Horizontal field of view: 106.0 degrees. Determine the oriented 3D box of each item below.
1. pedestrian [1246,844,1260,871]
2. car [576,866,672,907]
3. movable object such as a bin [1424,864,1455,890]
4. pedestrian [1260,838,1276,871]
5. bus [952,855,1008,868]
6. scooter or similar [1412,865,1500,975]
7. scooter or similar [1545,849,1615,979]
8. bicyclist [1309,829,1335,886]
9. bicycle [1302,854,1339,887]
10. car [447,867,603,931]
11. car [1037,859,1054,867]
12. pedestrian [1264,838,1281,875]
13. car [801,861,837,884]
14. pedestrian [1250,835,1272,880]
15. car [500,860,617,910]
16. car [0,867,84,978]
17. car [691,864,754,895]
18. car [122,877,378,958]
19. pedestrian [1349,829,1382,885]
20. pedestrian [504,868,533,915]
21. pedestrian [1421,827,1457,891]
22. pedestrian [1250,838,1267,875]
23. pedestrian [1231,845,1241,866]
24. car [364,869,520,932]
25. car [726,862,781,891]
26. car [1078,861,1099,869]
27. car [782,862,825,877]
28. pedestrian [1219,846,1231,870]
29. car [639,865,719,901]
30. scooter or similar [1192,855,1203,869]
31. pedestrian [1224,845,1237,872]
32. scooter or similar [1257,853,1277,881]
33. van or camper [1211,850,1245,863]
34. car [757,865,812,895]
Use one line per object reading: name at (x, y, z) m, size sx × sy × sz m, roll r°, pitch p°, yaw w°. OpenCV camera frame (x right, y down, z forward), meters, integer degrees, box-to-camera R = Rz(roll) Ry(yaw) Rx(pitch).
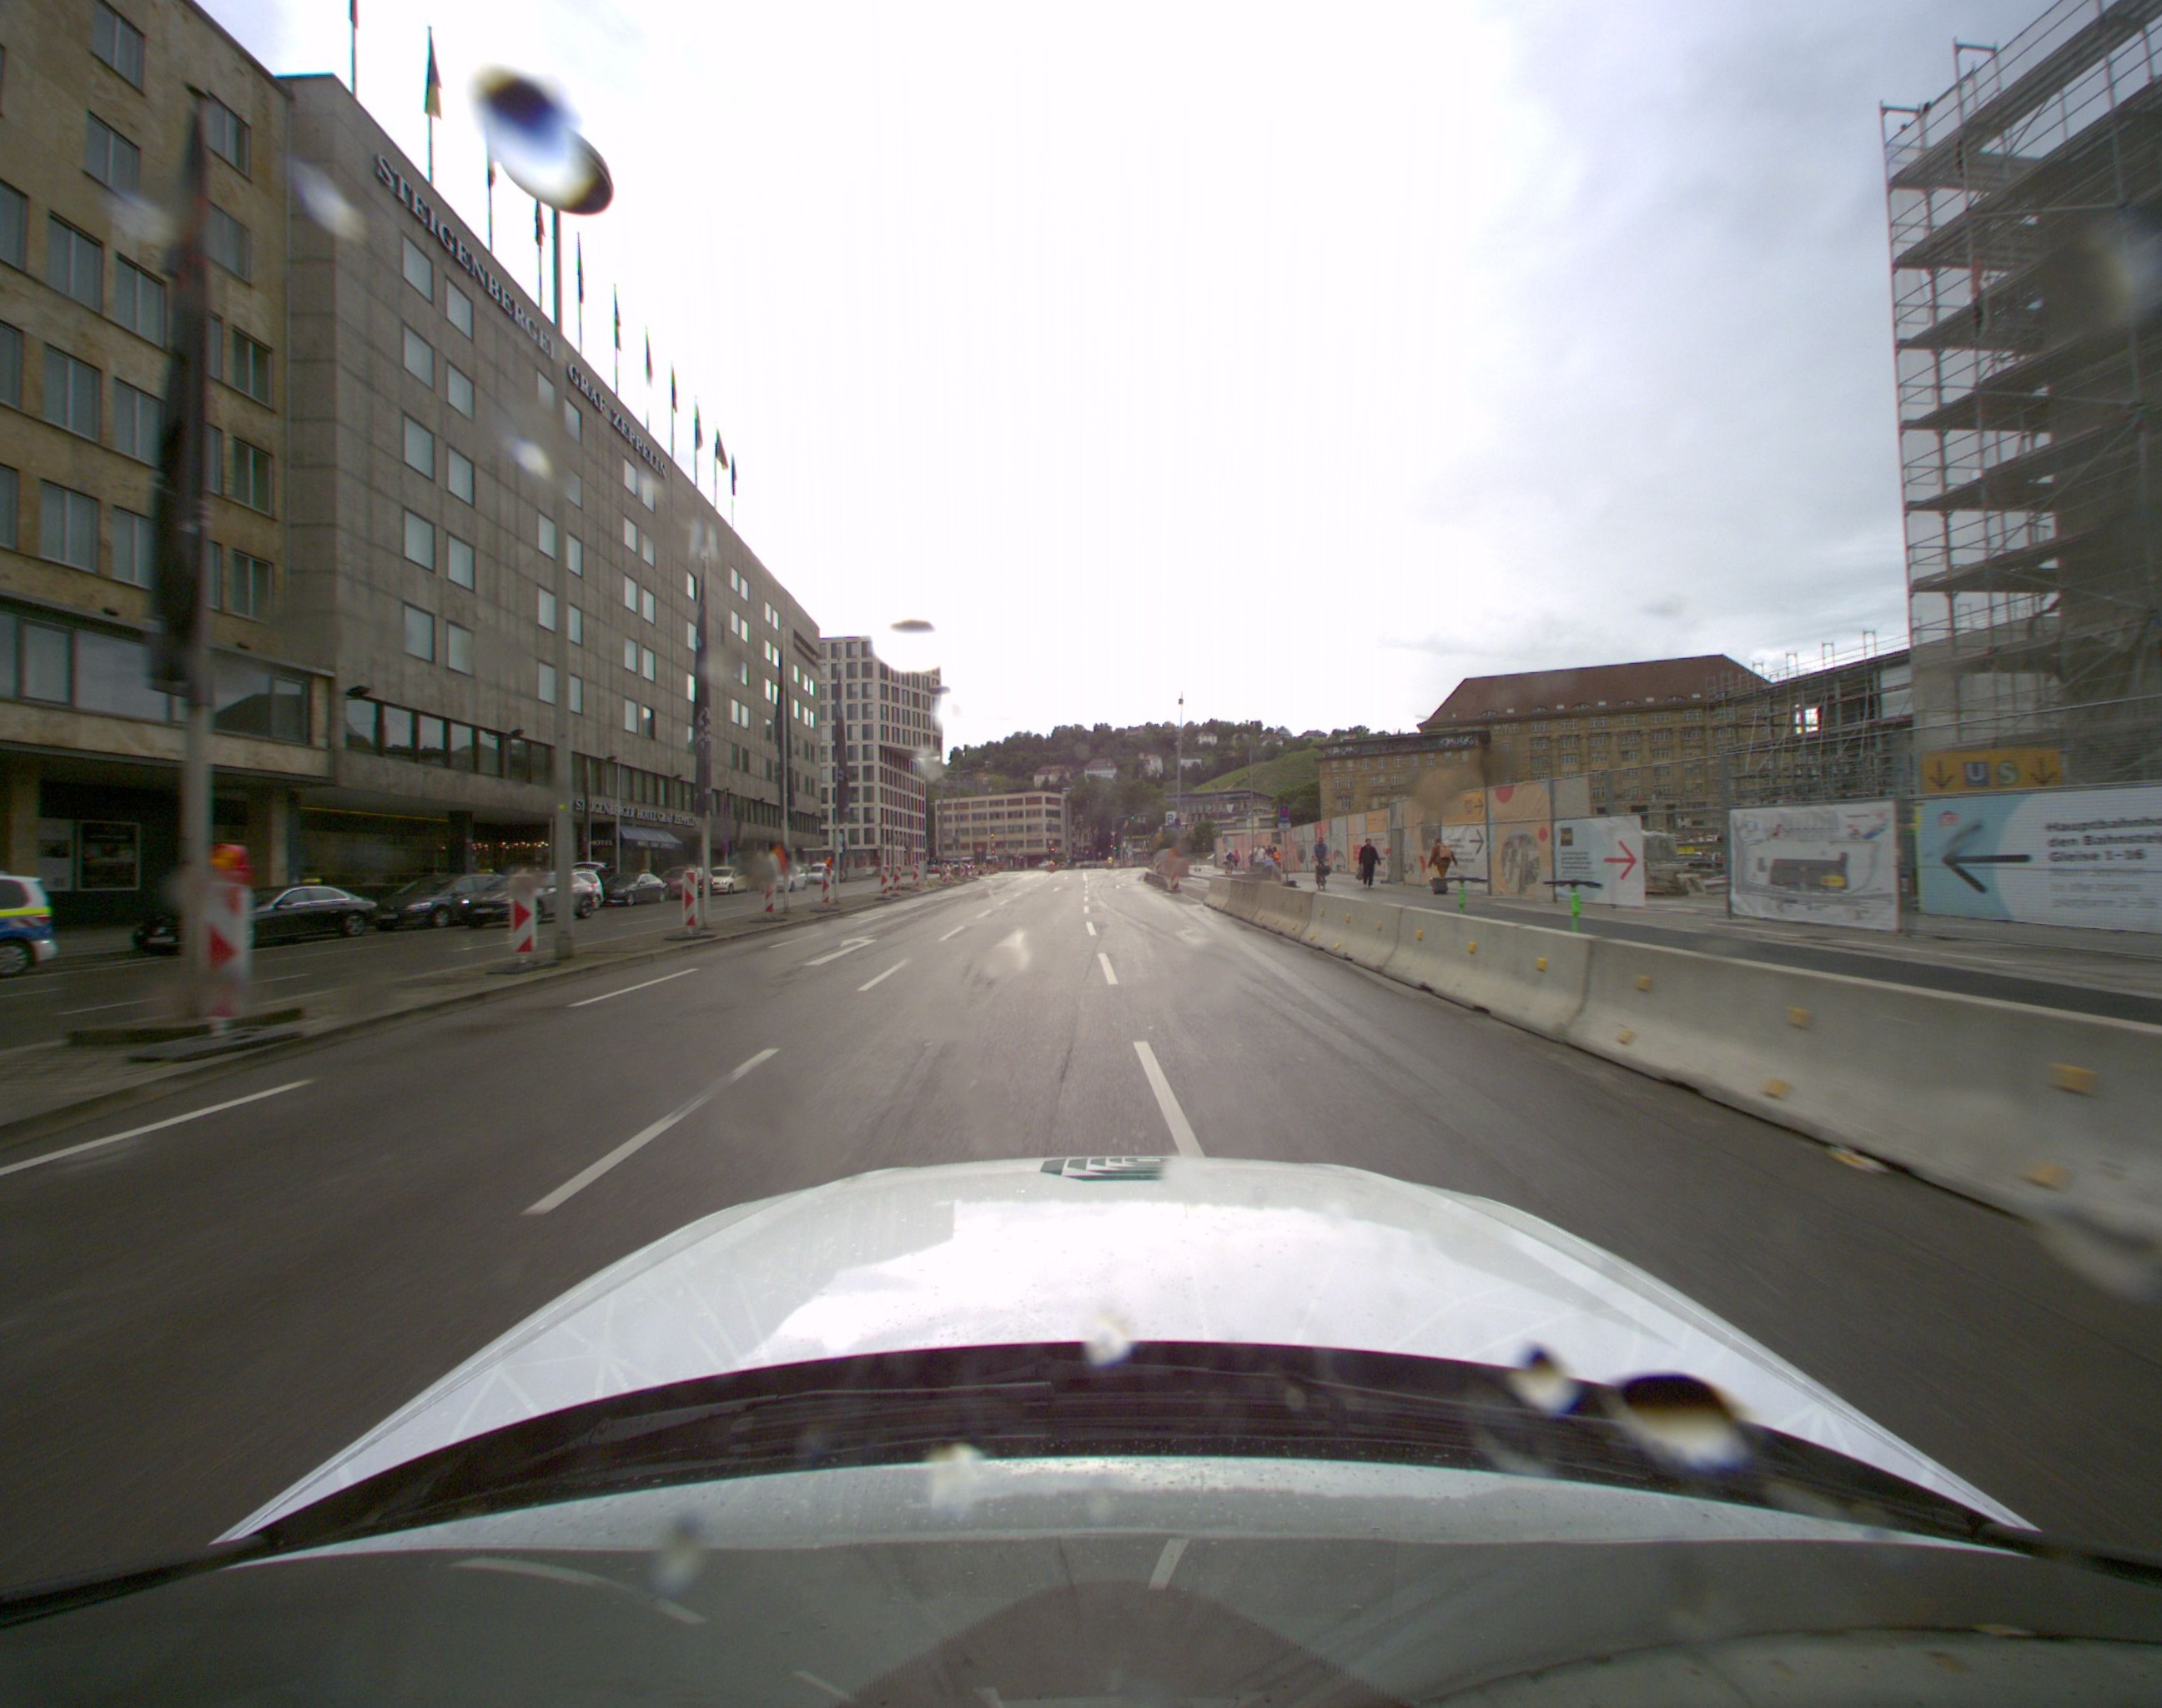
pedestrian at (11.889, 0.227, 56.205) m, size 0.701 × 1.866 × 0.990 m, roll -2°, pitch 0°, yaw 1°
car at (-20.909, 1.448, 37.505) m, size 1.898 × 1.659 × 4.612 m, roll -2°, pitch 0°, yaw -3°
movable object such as a bin at (10.713, 0.678, 24.332) m, size 0.594 × 0.734 × 0.778 m, roll -2°, pitch 0°, yaw 2°
pedestrian at (10.937, 0.017, 47.680) m, size 0.681 × 1.889 × 0.693 m, roll -2°, pitch 0°, yaw -1°
bus at (-23.814, 1.730, 191.332) m, size 13.795 × 2.750 × 3.232 m, roll -2°, pitch 0°, yaw 32°
scooter or similar at (4.842, 0.816, 10.570) m, size 0.524 × 1.333 × 1.021 m, roll -2°, pitch -1°, yaw -10°
scooter or similar at (5.434, 0.616, 8.907) m, size 0.487 × 1.333 × 1.031 m, roll -2°, pitch -1°, yaw 24°
bicyclist at (8.644, 0.121, 29.246) m, size 0.724 × 2.014 × 0.599 m, roll -2°, pitch -1°, yaw 2°
bicycle at (8.573, 0.582, 29.226) m, size 0.763 × 1.112 × 1.982 m, roll -2°, pitch 0°, yaw 2°
car at (-17.010, 1.293, 25.230) m, size 1.769 × 1.669 × 4.497 m, roll -3°, pitch 0°, yaw -1°
car at (-7.771, 1.953, 177.770) m, size 1.742 × 1.492 × 4.035 m, roll -2°, pitch 0°, yaw -33°
pedestrian at (9.854, 0.138, 41.908) m, size 0.681 × 1.889 × 0.694 m, roll -2°, pitch 0°, yaw 2°
car at (-22.366, 1.553, 69.620) m, size 1.770 × 1.762 × 4.367 m, roll -2°, pitch 0°, yaw -3°
pedestrian at (8.376, 0.167, 37.910) m, size 0.799 × 2.016 × 0.972 m, roll -2°, pitch 0°, yaw 2°
car at (-20.510, 1.173, 32.234) m, size 1.750 × 1.758 × 4.705 m, roll -2°, pitch -1°, yaw -3°
car at (-20.019, 1.272, 13.058) m, size 1.896 × 1.928 × 5.069 m, roll -2°, pitch 1°, yaw -3°
car at (-21.175, 1.464, 48.329) m, size 1.812 × 1.698 × 4.573 m, roll -2°, pitch -1°, yaw -3°
car at (-20.136, 1.457, 20.090) m, size 1.750 × 1.621 × 4.559 m, roll -2°, pitch -1°, yaw -3°
pedestrian at (9.920, 0.109, 28.412) m, size 0.845 × 1.895 × 0.662 m, roll -2°, pitch -1°, yaw 1°
pedestrian at (-21.759, 1.437, 31.517) m, size 0.618 × 1.781 × 0.659 m, roll 0°, pitch -1°, yaw 5°
pedestrian at (10.882, 0.141, 24.748) m, size 0.764 × 1.895 × 0.654 m, roll -2°, pitch -1°, yaw 2°
pedestrian at (9.147, 0.140, 41.944) m, size 0.681 × 1.889 × 0.694 m, roll -2°, pitch 0°, yaw 2°
pedestrian at (13.593, 0.130, 71.378) m, size 0.717 × 1.866 × 0.709 m, roll -2°, pitch 0°, yaw -1°
car at (-20.059, 1.401, 25.836) m, size 1.750 × 1.681 × 4.223 m, roll -2°, pitch 0°, yaw -3°
car at (-21.656, 1.452, 54.038) m, size 1.810 × 1.728 × 4.512 m, roll -2°, pitch -1°, yaw -1°
car at (1.423, 2.139, 155.964) m, size 1.745 × 1.492 × 4.030 m, roll -2°, pitch 0°, yaw -40°
car at (-37.810, 2.086, 111.152) m, size 5.041 × 1.904 × 2.092 m, roll -2°, pitch 0°, yaw 7°
pedestrian at (10.583, 0.279, 59.890) m, size 0.681 × 1.740 × 0.907 m, roll -2°, pitch 0°, yaw -1°
car at (-21.161, 1.482, 43.112) m, size 1.896 × 1.768 × 4.645 m, roll -2°, pitch -1°, yaw -1°
scooter or similar at (9.641, 0.667, 67.499) m, size 0.467 × 1.183 × 1.411 m, roll -2°, pitch 0°, yaw -8°
pedestrian at (10.003, 0.282, 54.473) m, size 0.640 × 1.740 × 0.837 m, roll -2°, pitch 0°, yaw 0°
scooter or similar at (8.407, 0.576, 36.905) m, size 0.662 × 1.198 × 1.044 m, roll -2°, pitch 0°, yaw 2°
van or camper at (24.181, 0.400, 134.223) m, size 5.180 × 1.894 × 1.887 m, roll -2°, pitch 0°, yaw -1°
car at (-17.864, 1.523, 49.232) m, size 1.820 × 1.669 × 4.495 m, roll -2°, pitch 0°, yaw -3°
